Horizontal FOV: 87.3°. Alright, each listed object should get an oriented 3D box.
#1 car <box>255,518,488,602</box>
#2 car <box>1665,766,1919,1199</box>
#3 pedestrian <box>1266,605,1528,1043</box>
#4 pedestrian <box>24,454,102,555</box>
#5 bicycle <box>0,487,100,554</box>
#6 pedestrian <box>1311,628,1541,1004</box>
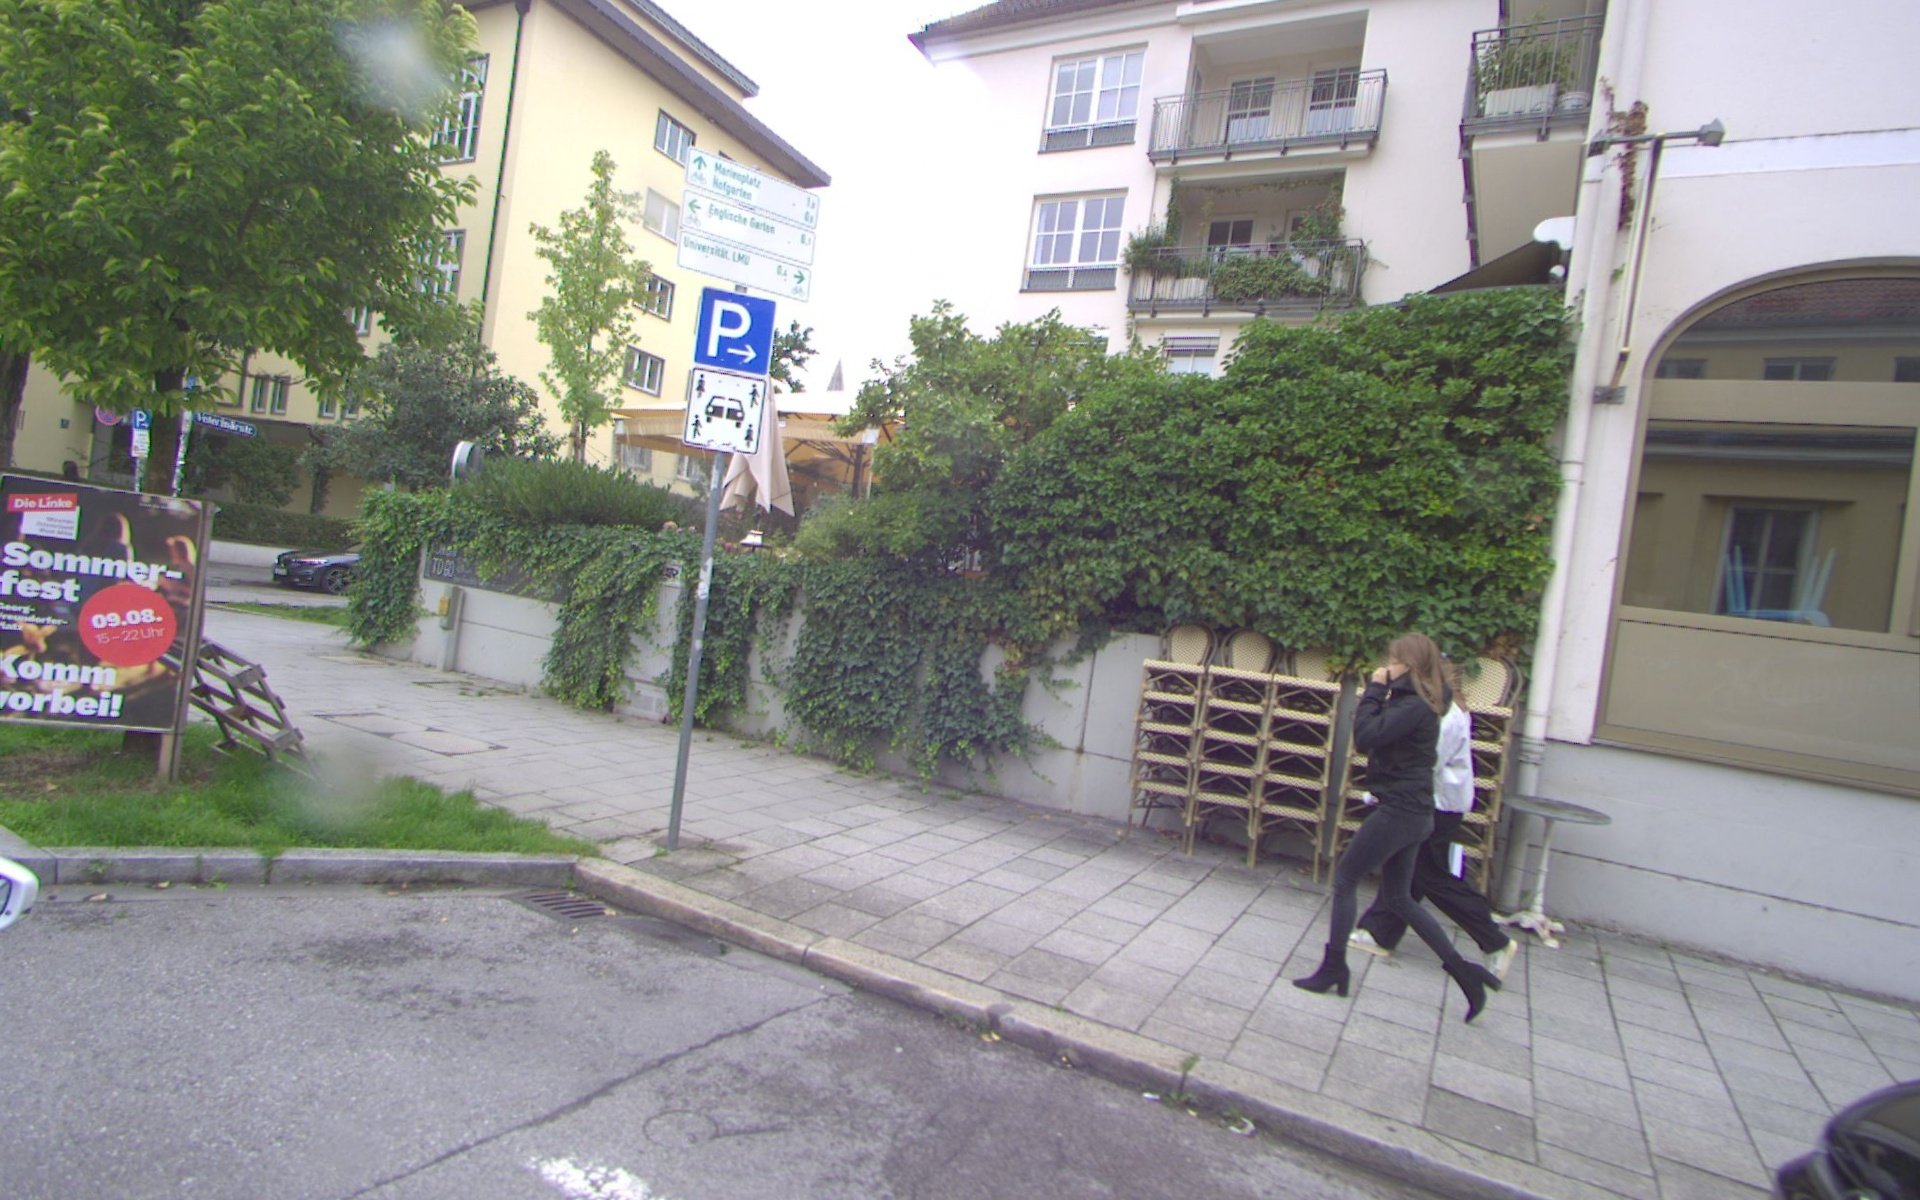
[{"bbox_3d":[-13.427,-0.871,23.248,1.634,1.383,4.327,5,-2,30],"label":"car"},{"bbox_3d":[3.438,1.288,1.187,3.929,1.409,1.722,8,-4,26],"label":"car"},{"bbox_3d":[1.916,0.901,4.429,0.815,1.649,0.679,7,1,27],"label":"pedestrian"},{"bbox_3d":[-18.101,-1.922,20.310,0.753,1.881,0.851,8,2,28],"label":"pedestrian"},{"bbox_3d":[-18.786,-1.619,20.575,0.452,1.144,1.686,8,0,28],"label":"bicycle"},{"bbox_3d":[2.359,1.008,5.095,0.815,1.626,0.808,7,1,28],"label":"pedestrian"}]
